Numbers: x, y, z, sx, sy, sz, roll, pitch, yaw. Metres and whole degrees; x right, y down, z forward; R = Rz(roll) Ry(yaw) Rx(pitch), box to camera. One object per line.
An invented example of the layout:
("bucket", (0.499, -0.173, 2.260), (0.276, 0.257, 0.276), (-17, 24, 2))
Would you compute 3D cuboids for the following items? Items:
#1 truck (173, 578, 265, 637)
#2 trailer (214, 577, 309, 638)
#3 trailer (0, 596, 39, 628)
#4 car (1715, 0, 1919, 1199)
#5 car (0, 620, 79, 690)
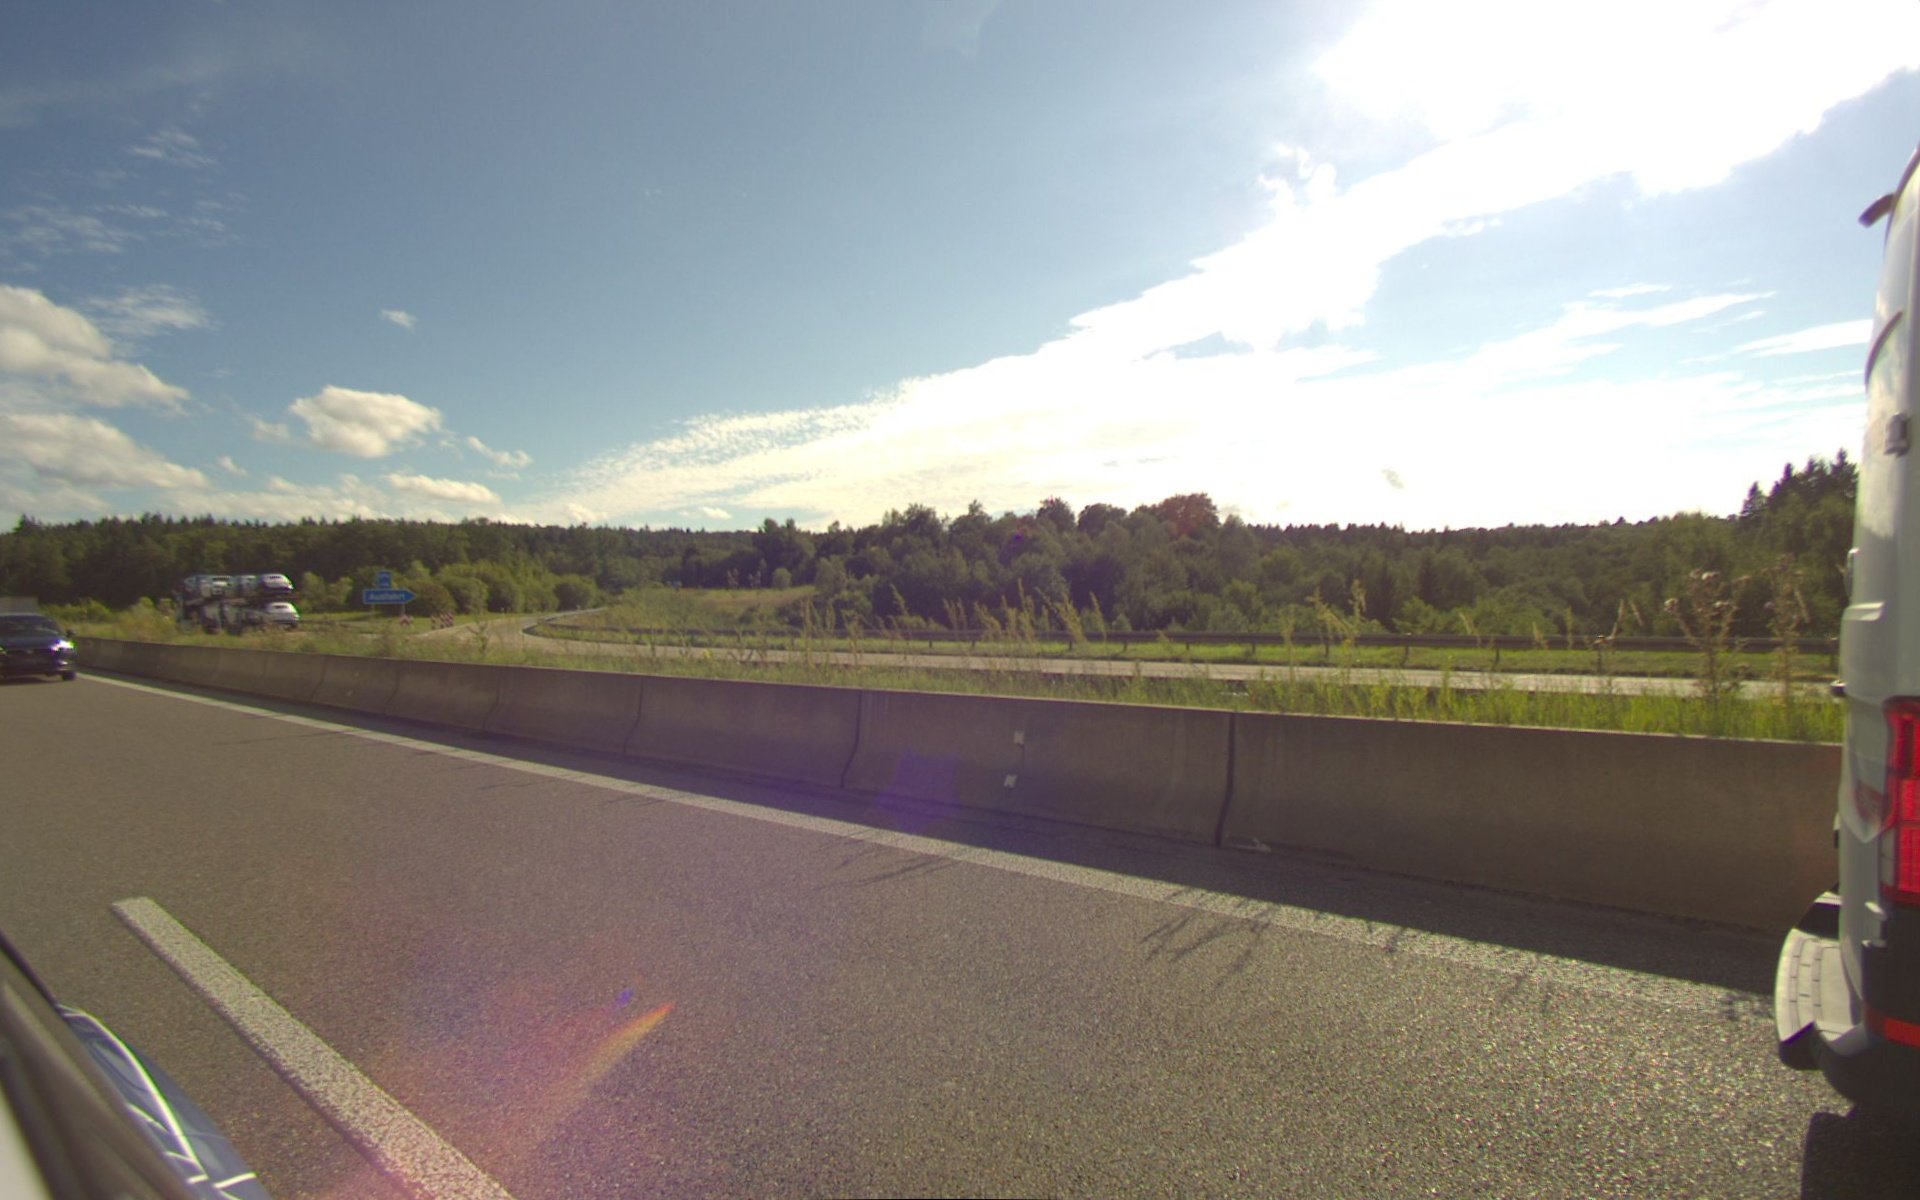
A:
("truck", (-50.882, 0.550, 69.297), (11.127, 3.717, 2.802), (-1, -1, 41))
("trailer", (-43.329, 0.492, 62.646), (8.950, 3.555, 2.769), (-1, -1, 41))
("trailer", (-124.171, 1.547, 133.491), (13.548, 4.022, 2.802), (-1, 0, 43))
("car", (4.568, -0.001, 0.818), (6.178, 2.619, 1.994), (-2, -2, 41))
("car", (-22.795, 1.268, 24.472), (4.157, 1.554, 1.755), (-1, -1, 42))
